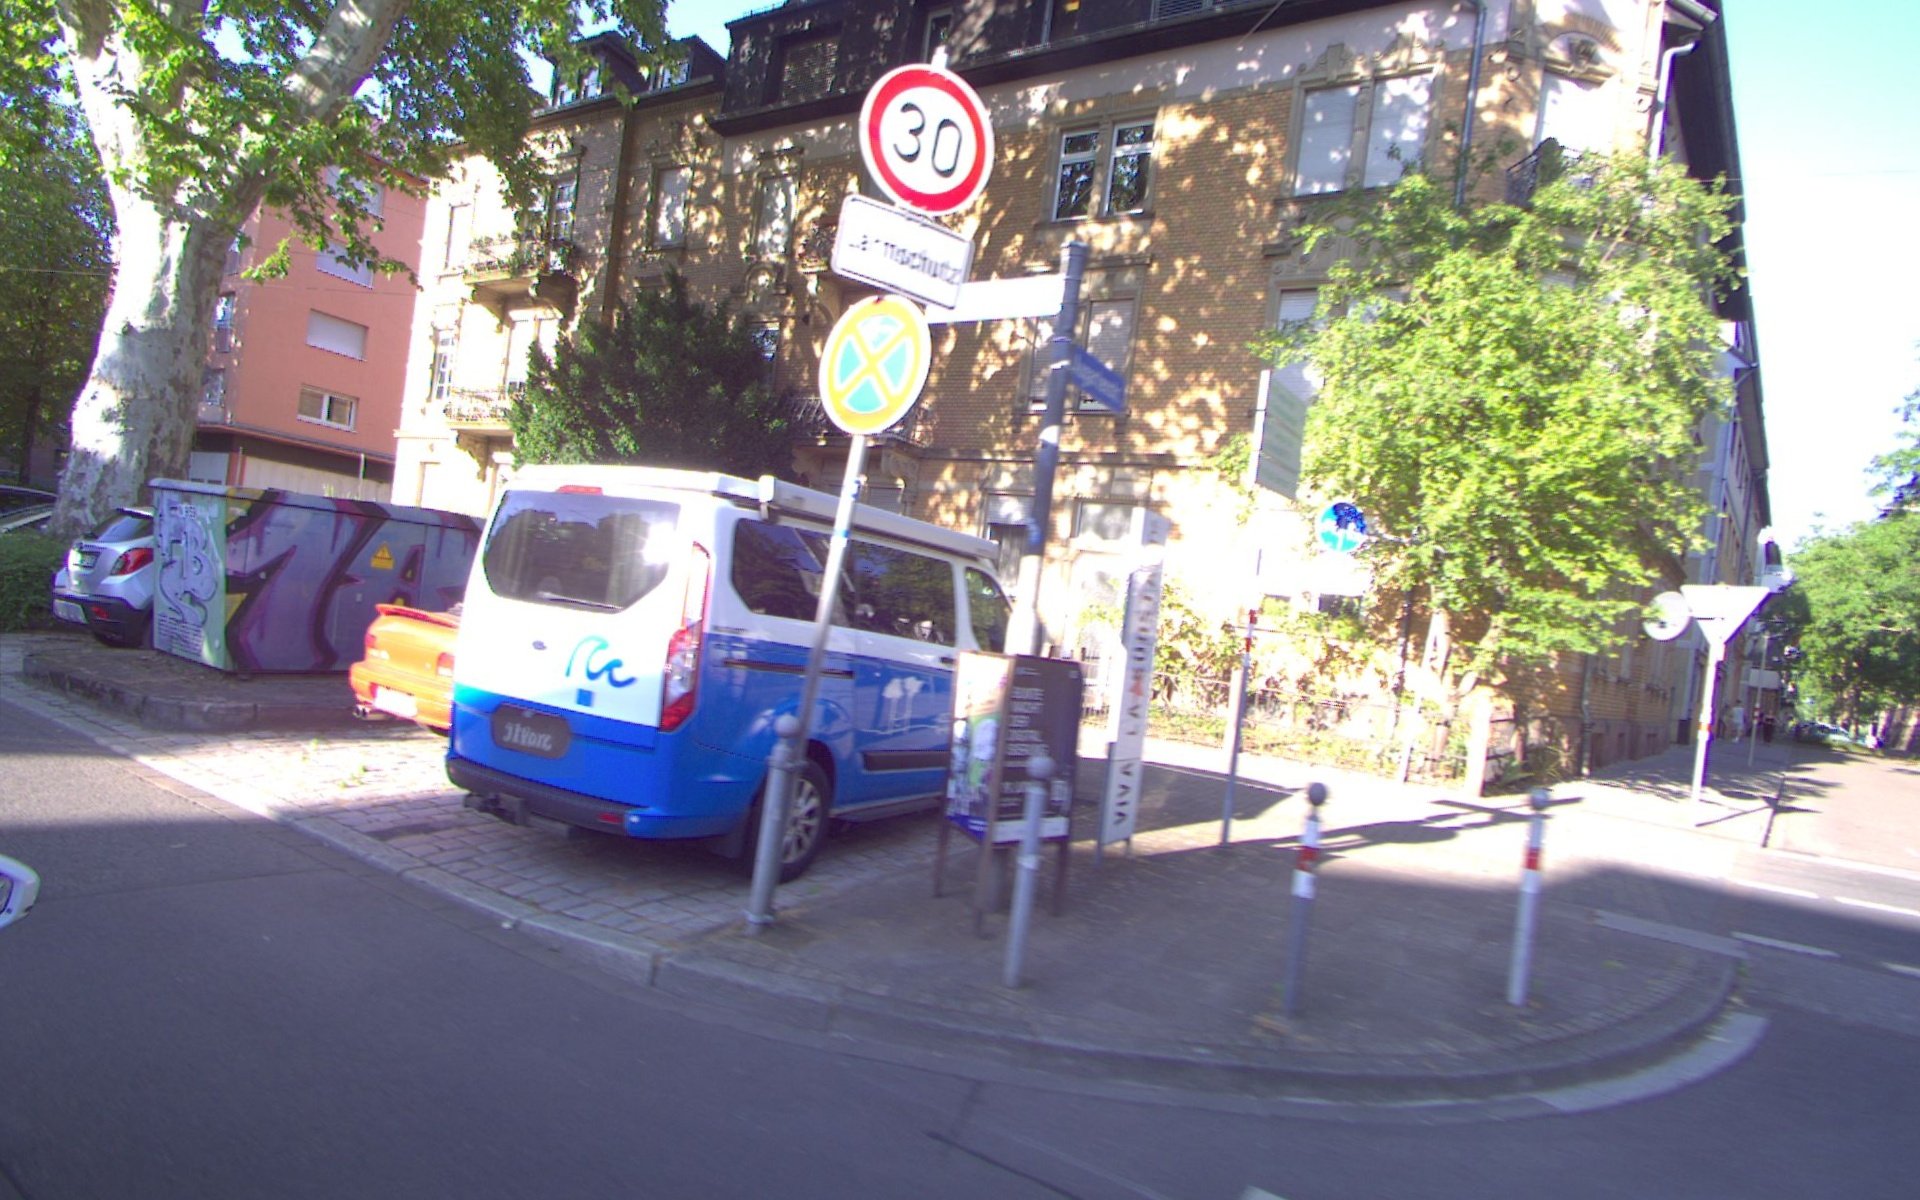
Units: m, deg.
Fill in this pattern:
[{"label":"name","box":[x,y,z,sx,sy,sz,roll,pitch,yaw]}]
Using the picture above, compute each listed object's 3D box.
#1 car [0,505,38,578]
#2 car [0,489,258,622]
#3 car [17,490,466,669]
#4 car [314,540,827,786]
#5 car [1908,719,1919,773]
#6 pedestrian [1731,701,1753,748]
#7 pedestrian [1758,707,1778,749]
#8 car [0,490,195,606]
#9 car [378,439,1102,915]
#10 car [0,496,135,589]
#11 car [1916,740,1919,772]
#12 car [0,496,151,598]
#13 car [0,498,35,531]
[{"label":"car","box":[-21.718,-1.467,20.272,1.787,1.465,4.207,7,-1,31]},{"label":"car","box":[-13.555,-0.712,15.357,1.788,1.638,4.204,7,-1,34]},{"label":"car","box":[-8.099,-0.139,11.710,1.760,1.639,3.787,7,0,29]},{"label":"car","box":[-3.066,0.494,8.702,1.760,1.507,3.787,7,0,29]},{"label":"car","box":[50.037,7.530,49.023,5.229,2.641,2.133,6,0,41]},{"label":"pedestrian","box":[31.332,4.978,40.295,0.515,1.770,0.922,7,0,38]},{"label":"pedestrian","box":[35.842,5.673,44.611,0.515,1.770,0.488,7,0,38]},{"label":"car","box":[-15.658,-0.960,16.708,1.846,1.638,4.209,7,-1,29]},{"label":"car","box":[-0.969,0.386,7.038,2.156,2.039,4.853,7,0,28]},{"label":"car","box":[-19.189,-1.282,19.759,1.788,1.574,4.204,7,-1,34]},{"label":"car","box":[52.769,7.946,51.470,5.229,2.641,2.133,6,0,41]},{"label":"car","box":[-17.550,-1.097,18.131,1.788,1.593,4.204,7,-1,34]},{"label":"car","box":[-48.454,-4.421,49.800,1.655,1.470,3.544,7,-1,29]}]
